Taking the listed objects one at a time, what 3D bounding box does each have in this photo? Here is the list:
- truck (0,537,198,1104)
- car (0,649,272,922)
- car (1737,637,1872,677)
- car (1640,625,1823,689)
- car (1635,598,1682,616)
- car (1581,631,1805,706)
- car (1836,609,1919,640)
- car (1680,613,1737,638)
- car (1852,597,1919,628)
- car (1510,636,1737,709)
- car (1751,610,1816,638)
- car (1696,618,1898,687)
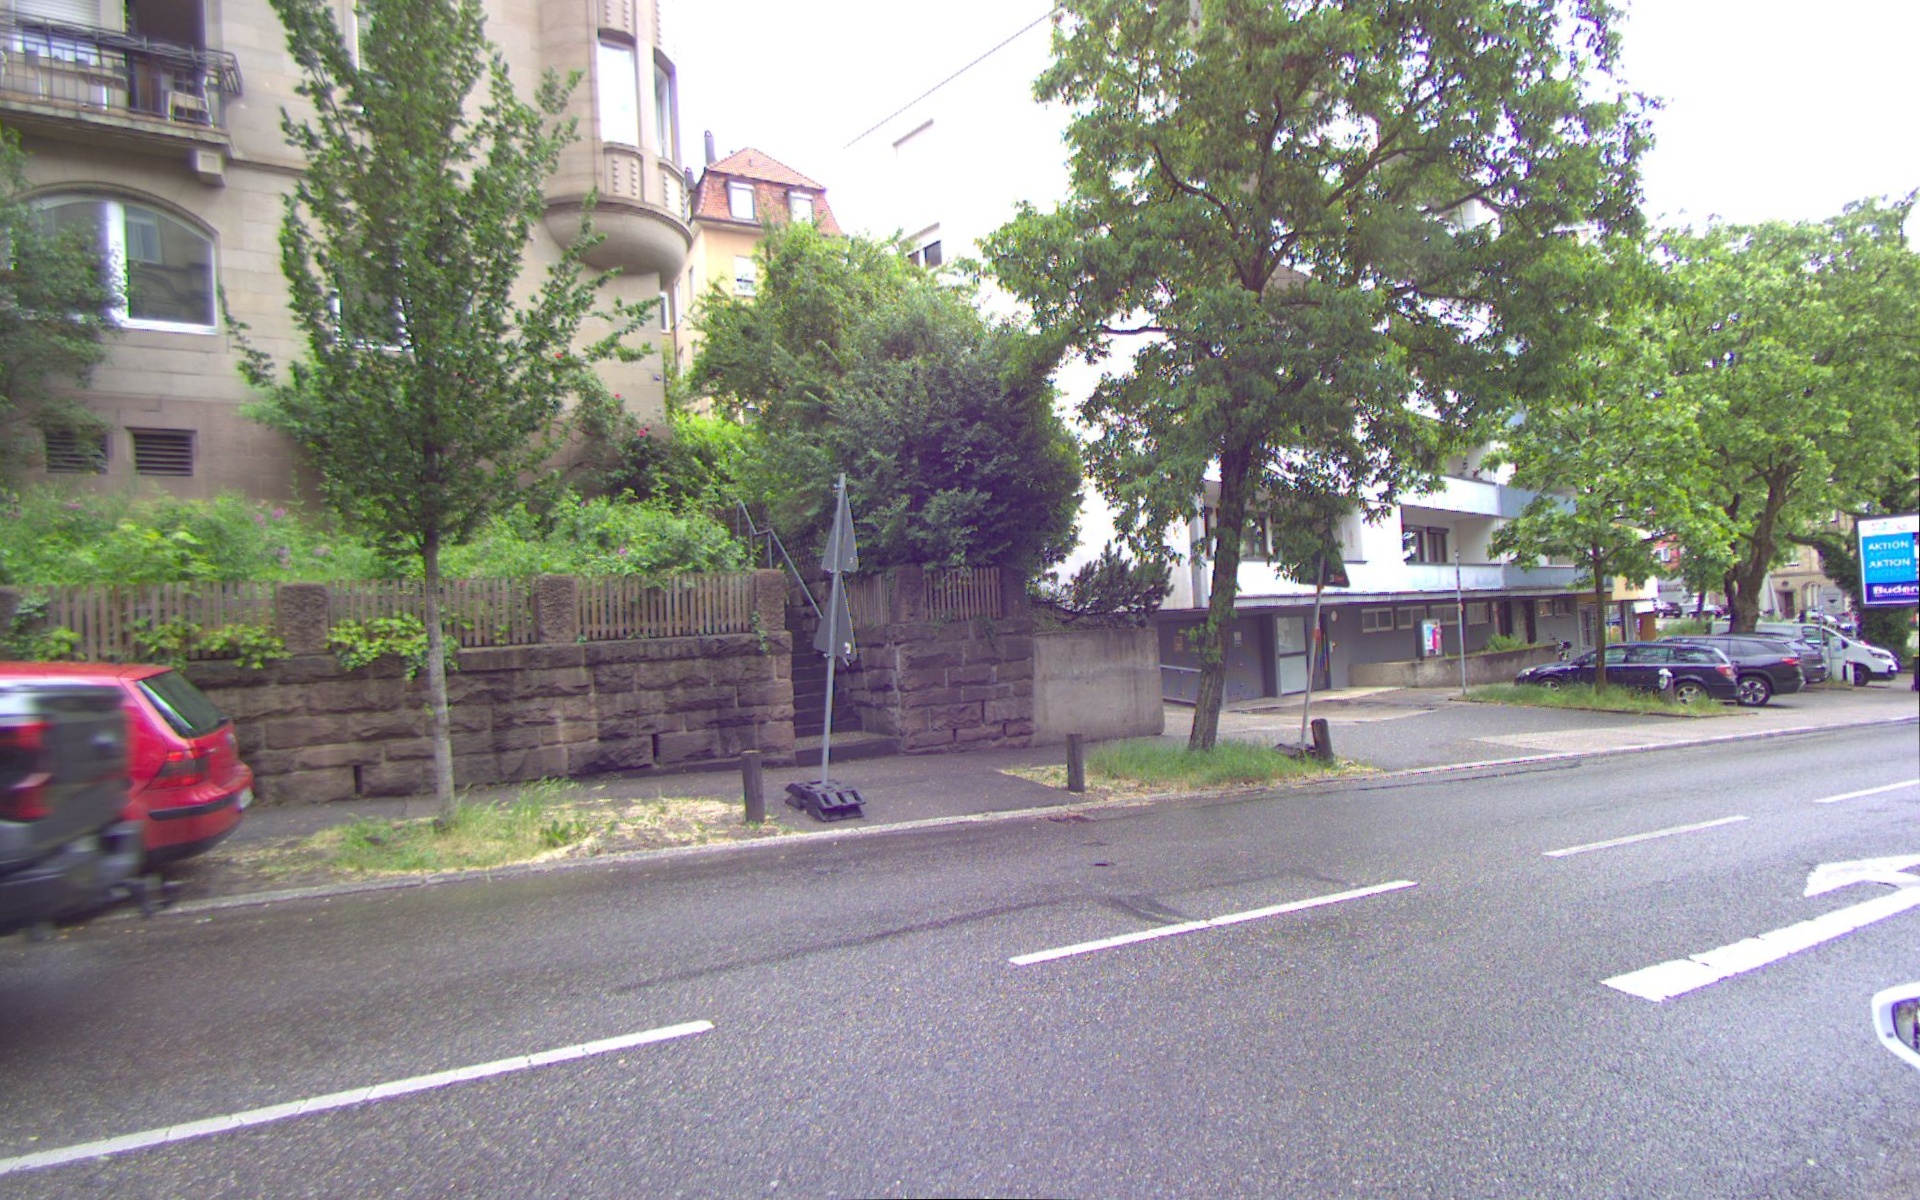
[{"bbox_3d":[-5.670,0.769,3.042,5.093,1.859,2.061,1,-4,-30],"label":"truck"},{"bbox_3d":[-6.505,1.050,5.805,4.015,1.470,1.606,1,-2,-30],"label":"car"},{"bbox_3d":[32.816,2.190,39.159,3.925,1.469,1.761,-2,-3,40],"label":"car"},{"bbox_3d":[23.388,1.703,30.574,4.305,1.807,1.931,-2,-3,40],"label":"car"},{"bbox_3d":[68.600,0.684,98.732,1.694,1.711,3.999,2,0,-2],"label":"car"},{"bbox_3d":[18.099,1.686,24.987,4.312,1.694,1.848,-3,-4,38],"label":"car"},{"bbox_3d":[64.959,1.758,71.171,1.981,2.040,3.960,1,-4,-37],"label":"car"},{"bbox_3d":[68.685,2.347,92.291,1.961,2.130,4.291,-1,1,-1],"label":"car"},{"bbox_3d":[69.323,0.905,74.772,1.961,2.130,4.291,-1,1,-1],"label":"car"},{"bbox_3d":[15.639,1.693,23.801,4.303,1.594,1.935,-3,-4,38],"label":"car"},{"bbox_3d":[69.956,2.013,85.435,1.961,2.130,4.291,-1,1,-1],"label":"car"},{"bbox_3d":[27.683,1.699,33.448,5.000,2.132,1.983,-2,-3,40],"label":"car"}]
